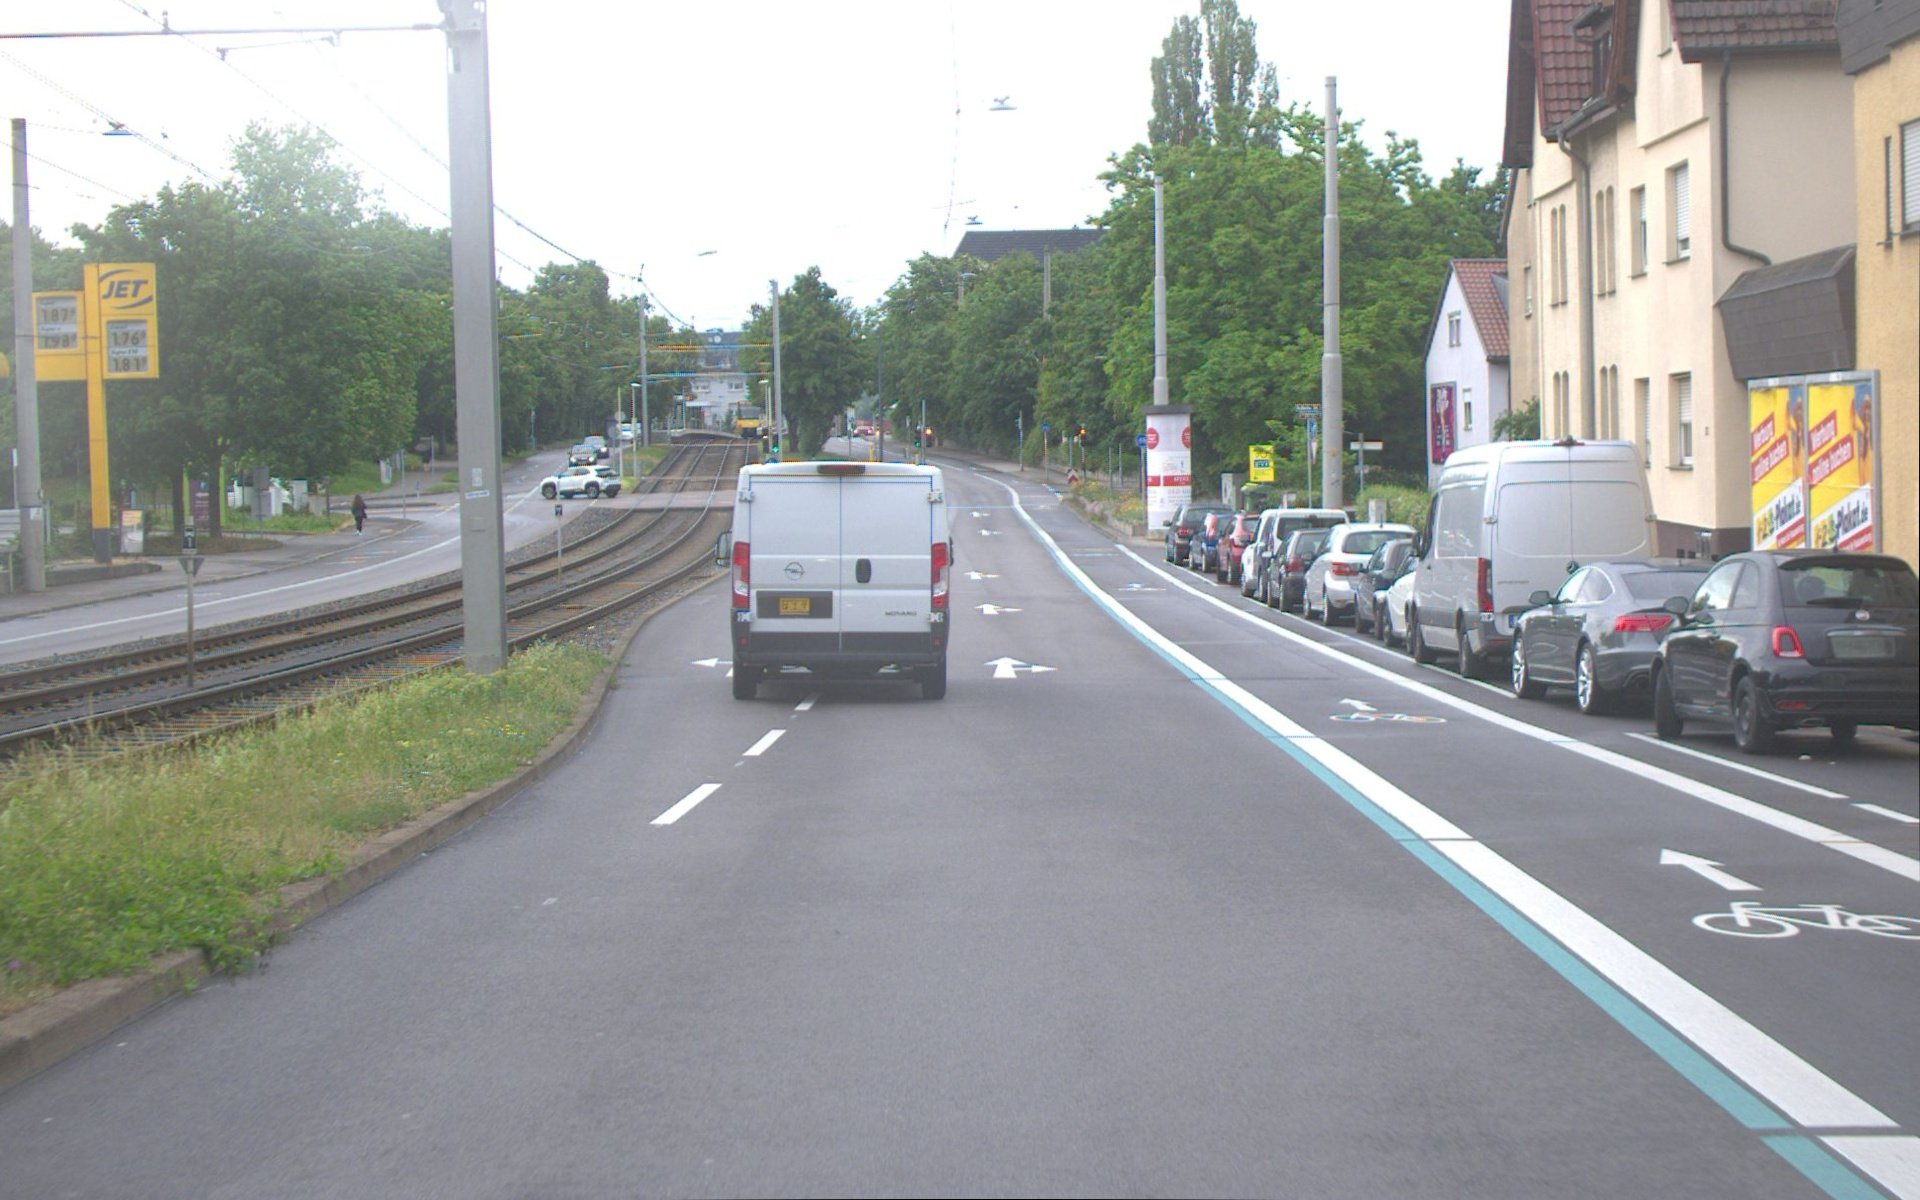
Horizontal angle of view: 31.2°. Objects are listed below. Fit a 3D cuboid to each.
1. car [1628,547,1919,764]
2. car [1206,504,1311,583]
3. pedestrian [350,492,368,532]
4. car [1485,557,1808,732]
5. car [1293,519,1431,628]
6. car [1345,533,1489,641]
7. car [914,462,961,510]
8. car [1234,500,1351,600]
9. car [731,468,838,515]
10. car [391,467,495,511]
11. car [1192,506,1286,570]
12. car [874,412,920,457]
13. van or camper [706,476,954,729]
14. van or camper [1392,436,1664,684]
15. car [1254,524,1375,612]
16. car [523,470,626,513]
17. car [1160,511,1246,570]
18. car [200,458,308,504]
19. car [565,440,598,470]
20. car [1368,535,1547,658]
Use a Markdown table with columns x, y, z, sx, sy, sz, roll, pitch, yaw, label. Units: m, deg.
| x | y | z | sx | sy | sz | roll | pitch | yaw | label |
| --- | --- | --- | --- | --- | --- | --- | --- | --- | --- |
| 6.315 | 0.373 | 26.093 | 1.565 | 1.493 | 3.513 | 1 | 1 | -4 | car |
| 6.551 | -1.267 | 75.859 | 1.847 | 1.640 | 3.955 | 0 | 2 | -2 | car |
| -22.732 | -3.326 | 129.954 | 0.612 | 1.470 | 0.643 | -1 | 1 | -13 | pedestrian |
| 6.254 | 0.361 | 31.851 | 1.788 | 1.401 | 4.554 | 1 | 2 | -4 | car |
| 6.380 | -0.461 | 54.902 | 1.646 | 1.609 | 4.105 | 1 | 2 | -1 | car |
| 6.585 | -0.223 | 49.832 | 1.626 | 1.443 | 3.707 | 1 | 2 | 1 | car |
| -0.974 | -4.896 | 148.024 | 1.993 | 2.007 | 4.000 | 1 | 1 | -1 | car |
| 6.337 | -0.979 | 65.904 | 1.747 | 1.801 | 3.955 | 0 | 2 | -2 | car |
| -7.818 | -4.838 | 153.052 | 4.522 | 2.007 | 1.996 | 2 | 1 | 36 | car |
| -24.645 | -5.304 | 163.932 | 4.518 | 2.007 | 1.998 | 1 | 1 | 21 | car |
| 6.739 | -1.522 | 83.454 | 1.847 | 1.494 | 3.955 | 0 | 1 | -2 | car |
| -3.036 | -7.952 | 165.889 | 1.993 | 2.007 | 4.001 | 1 | 1 | -4 | car |
| -1.321 | -0.018 | 33.323 | 2.198 | 2.245 | 4.685 | 1 | 1 | -4 | van or camper |
| 6.314 | -0.530 | 38.937 | 1.993 | 2.554 | 6.044 | 1 | 2 | 0 | van or camper |
| 6.209 | -0.587 | 60.521 | 1.646 | 1.441 | 3.955 | 1 | 2 | -1 | car |
| -18.554 | -5.226 | 165.431 | 4.518 | 2.007 | 1.998 | 1 | 1 | 21 | car |
| 6.289 | -1.555 | 89.359 | 1.847 | 1.494 | 3.955 | 0 | 1 | -2 | car |
| -32.203 | -5.418 | 156.894 | 4.513 | 2.007 | 2.000 | 1 | 1 | 0 | car |
| -23.154 | -8.875 | 210.590 | 1.690 | 1.706 | 3.777 | 1 | 1 | -2 | car |
| 6.430 | -0.083 | 44.807 | 1.708 | 1.441 | 4.041 | 1 | 2 | 0 | car |
